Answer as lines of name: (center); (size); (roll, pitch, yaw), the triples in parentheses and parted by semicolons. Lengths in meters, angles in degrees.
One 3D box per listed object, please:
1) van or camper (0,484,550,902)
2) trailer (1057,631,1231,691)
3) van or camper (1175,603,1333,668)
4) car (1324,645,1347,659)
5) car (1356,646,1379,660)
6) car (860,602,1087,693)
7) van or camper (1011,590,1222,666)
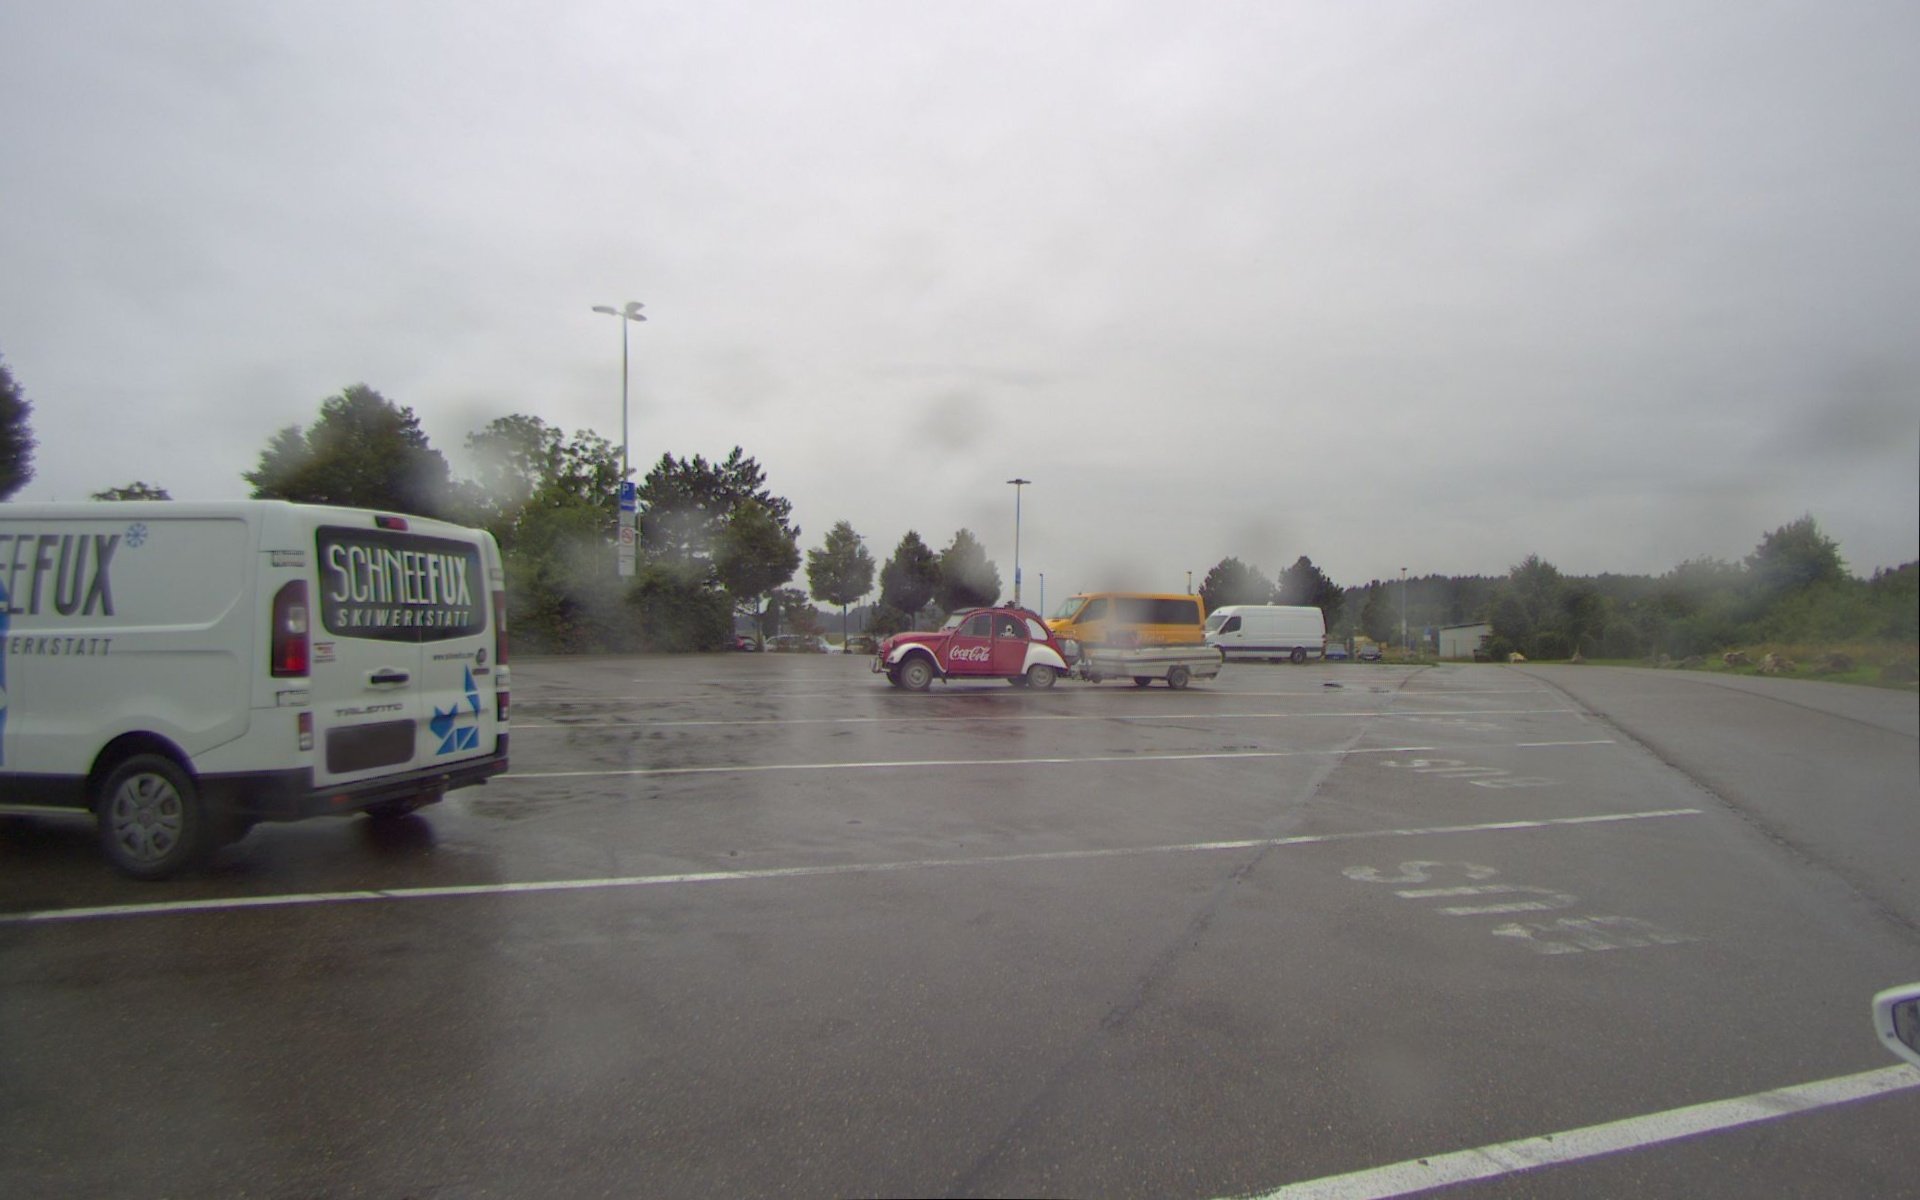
van or camper: (-5.544, 0.386, 6.355); (5.092, 1.971, 2.196); (1, 0, 13)
trailer: (3.595, 1.189, 19.816); (2.980, 1.081, 1.584); (2, -1, -15)
van or camper: (13.414, 1.622, 45.856); (6.956, 2.752, 1.992); (1, 1, -18)
car: (31.606, 4.331, 84.500); (1.676, 1.013, 3.766); (1, -1, 22)
car: (33.763, 4.372, 83.183); (1.676, 1.013, 3.766); (1, -1, 22)
car: (0.227, 0.871, 18.776); (3.988, 1.576, 1.545); (1, 0, -15)
van or camper: (4.960, 0.900, 31.817); (6.316, 2.276, 2.126); (1, 0, -18)
